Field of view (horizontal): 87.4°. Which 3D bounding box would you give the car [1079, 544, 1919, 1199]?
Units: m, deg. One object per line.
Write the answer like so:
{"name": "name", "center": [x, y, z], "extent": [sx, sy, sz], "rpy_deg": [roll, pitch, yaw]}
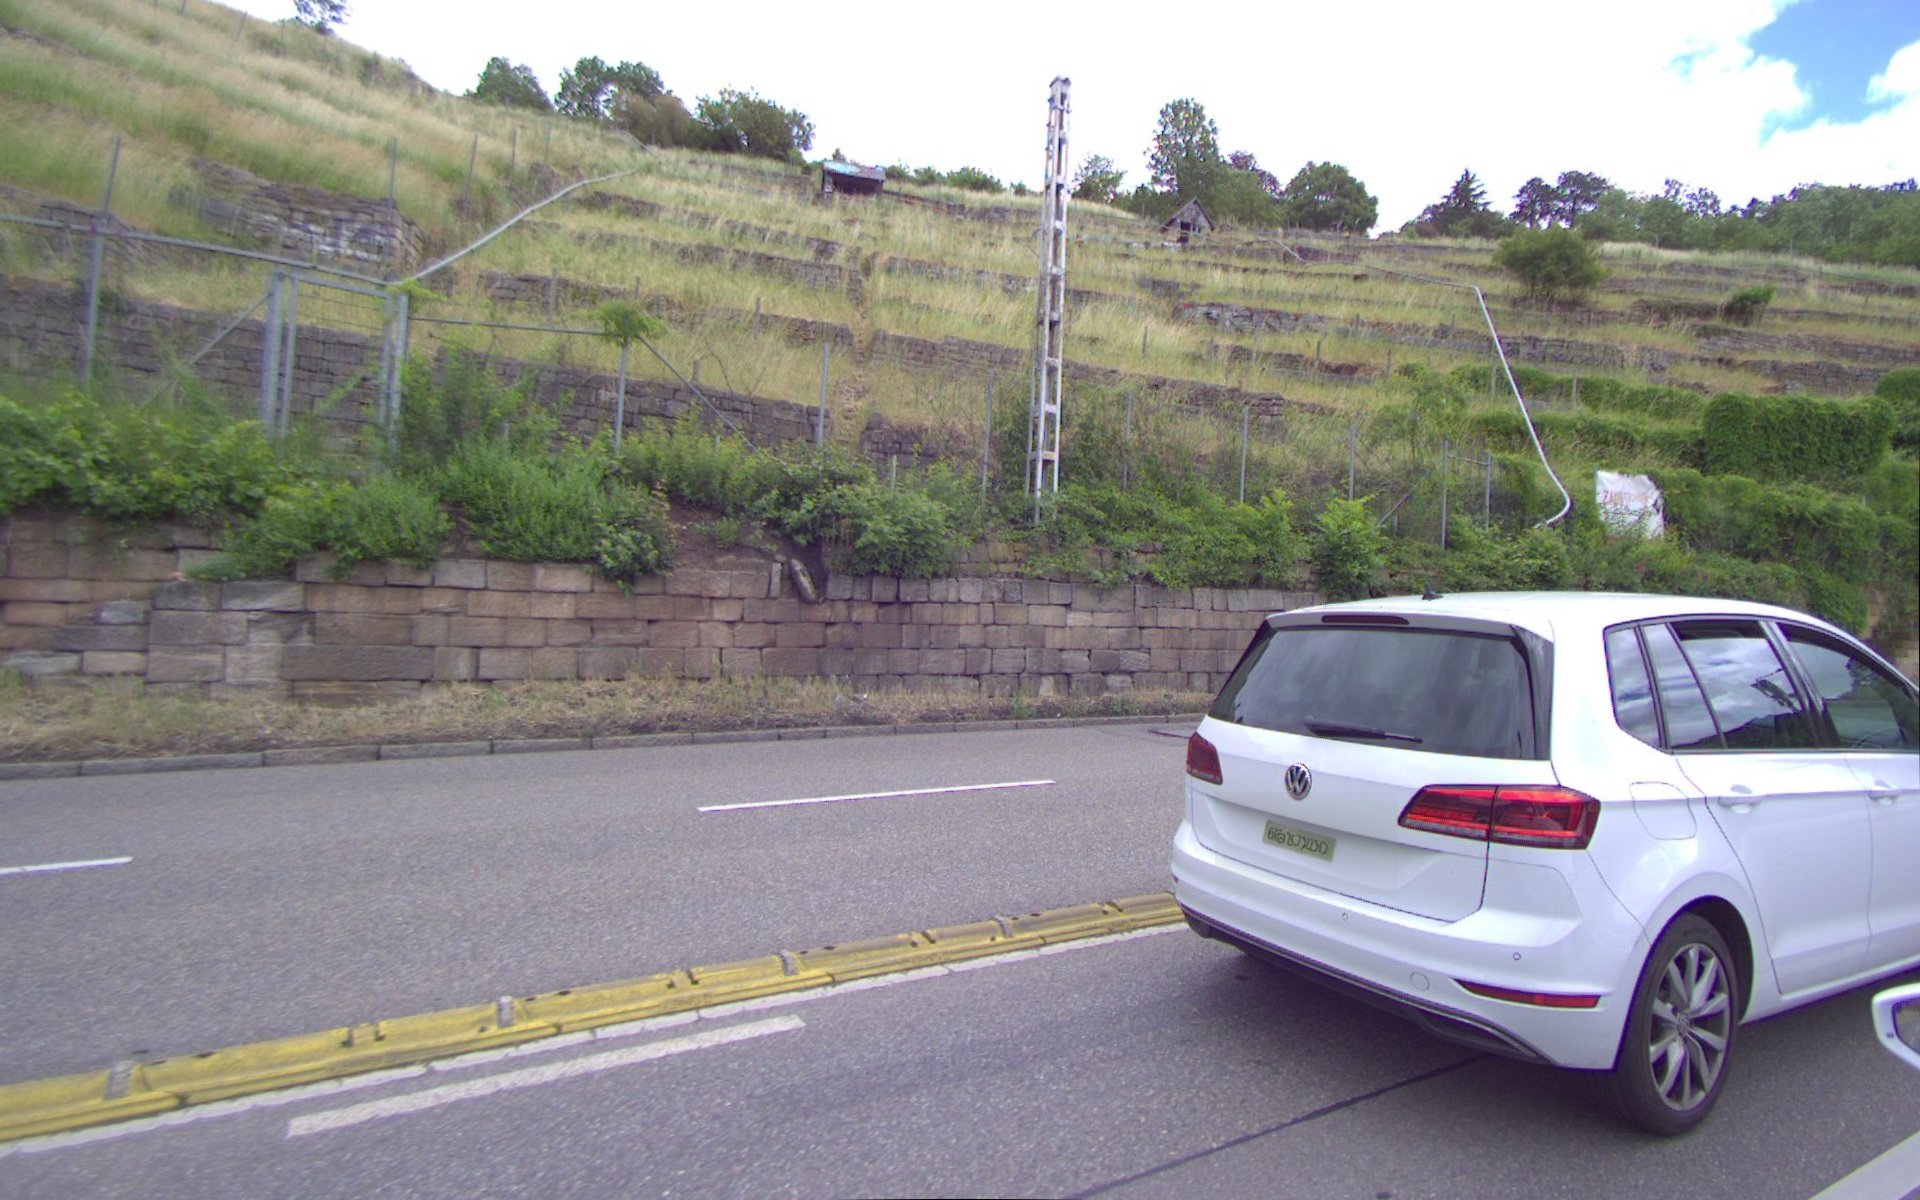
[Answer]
{"name": "car", "center": [2.783, 0.724, 4.147], "extent": [4.302, 1.601, 1.813], "rpy_deg": [2, -1, -29]}
